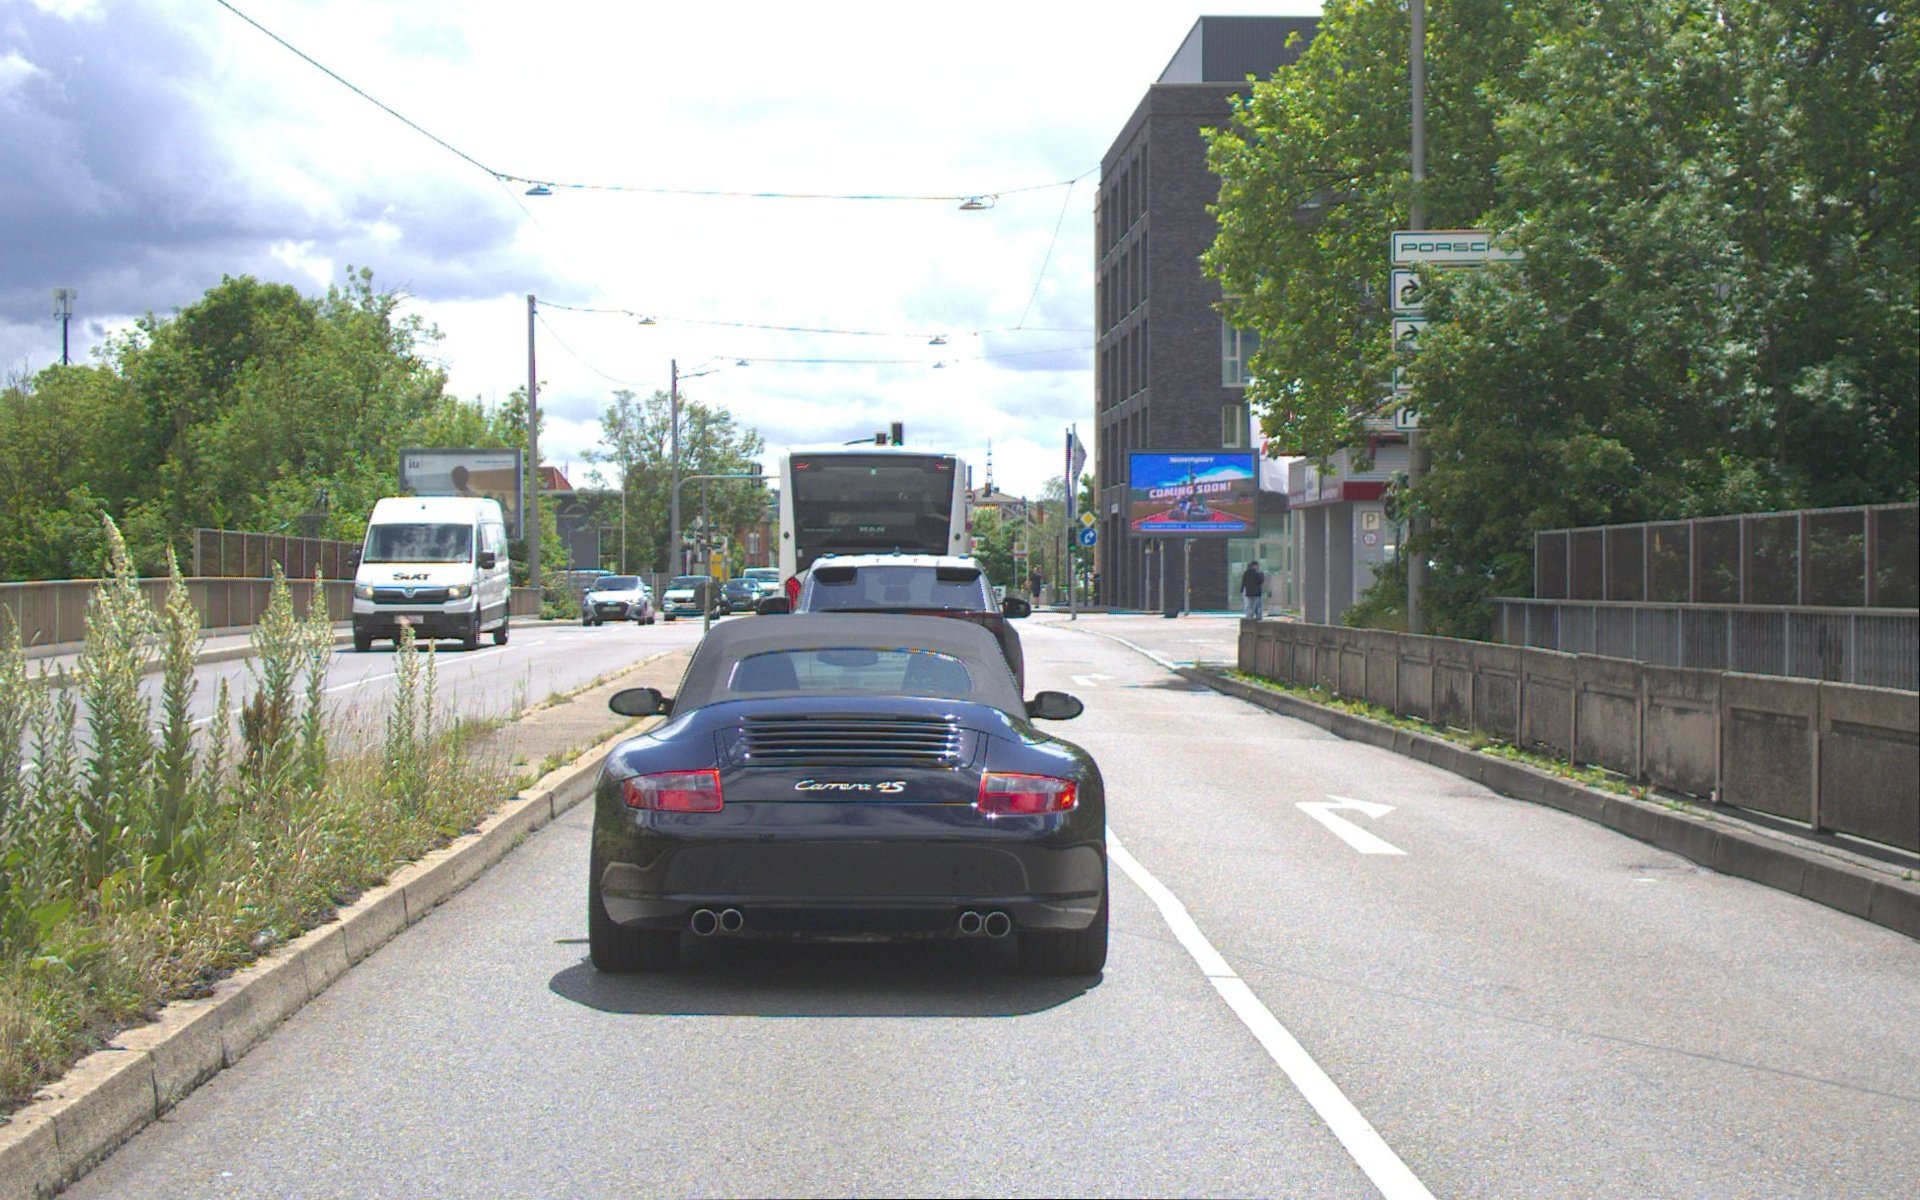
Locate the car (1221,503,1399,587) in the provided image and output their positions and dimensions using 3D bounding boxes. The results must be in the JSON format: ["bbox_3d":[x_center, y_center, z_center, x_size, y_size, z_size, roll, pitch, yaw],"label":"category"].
[{"bbox_3d":[8.842,-1.371,87.004,4.230,1.930,2.029,-2,0,0],"label":"car"}]

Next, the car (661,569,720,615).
[{"bbox_3d":[-9.267,-0.283,118.461,1.810,1.555,4.208,1,0,-2],"label":"car"}]

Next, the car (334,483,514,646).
[{"bbox_3d":[-9.012,-0.612,58.378,2.066,2.562,6.822,-1,1,-1],"label":"car"}]

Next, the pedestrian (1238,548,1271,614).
[{"bbox_3d":[7.629,-0.496,89.041,0.681,1.690,0.597,0,0,25],"label":"pedestrian"}]

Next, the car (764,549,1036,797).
[{"bbox_3d":[-0.463,0.485,26.362,1.879,1.588,4.230,1,2,-1],"label":"car"}]

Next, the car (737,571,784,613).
[{"bbox_3d":[-9.211,-0.376,159.137,1.901,1.880,5.313,-2,0,-1],"label":"car"}]

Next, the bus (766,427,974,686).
[{"bbox_3d":[-1.218,-0.879,51.915,2.689,3.244,12.060,2,4,0],"label":"bus"}]

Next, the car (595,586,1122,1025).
[{"bbox_3d":[-0.421,0.675,13.412,1.719,1.271,4.089,1,2,-2],"label":"car"}]

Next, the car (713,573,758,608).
[{"bbox_3d":[-9.188,-0.399,141.014,1.628,1.426,4.000,0,0,-1],"label":"car"}]

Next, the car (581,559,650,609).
[{"bbox_3d":[-9.837,-0.473,98.299,1.637,1.358,4.195,0,1,-1],"label":"car"}]
